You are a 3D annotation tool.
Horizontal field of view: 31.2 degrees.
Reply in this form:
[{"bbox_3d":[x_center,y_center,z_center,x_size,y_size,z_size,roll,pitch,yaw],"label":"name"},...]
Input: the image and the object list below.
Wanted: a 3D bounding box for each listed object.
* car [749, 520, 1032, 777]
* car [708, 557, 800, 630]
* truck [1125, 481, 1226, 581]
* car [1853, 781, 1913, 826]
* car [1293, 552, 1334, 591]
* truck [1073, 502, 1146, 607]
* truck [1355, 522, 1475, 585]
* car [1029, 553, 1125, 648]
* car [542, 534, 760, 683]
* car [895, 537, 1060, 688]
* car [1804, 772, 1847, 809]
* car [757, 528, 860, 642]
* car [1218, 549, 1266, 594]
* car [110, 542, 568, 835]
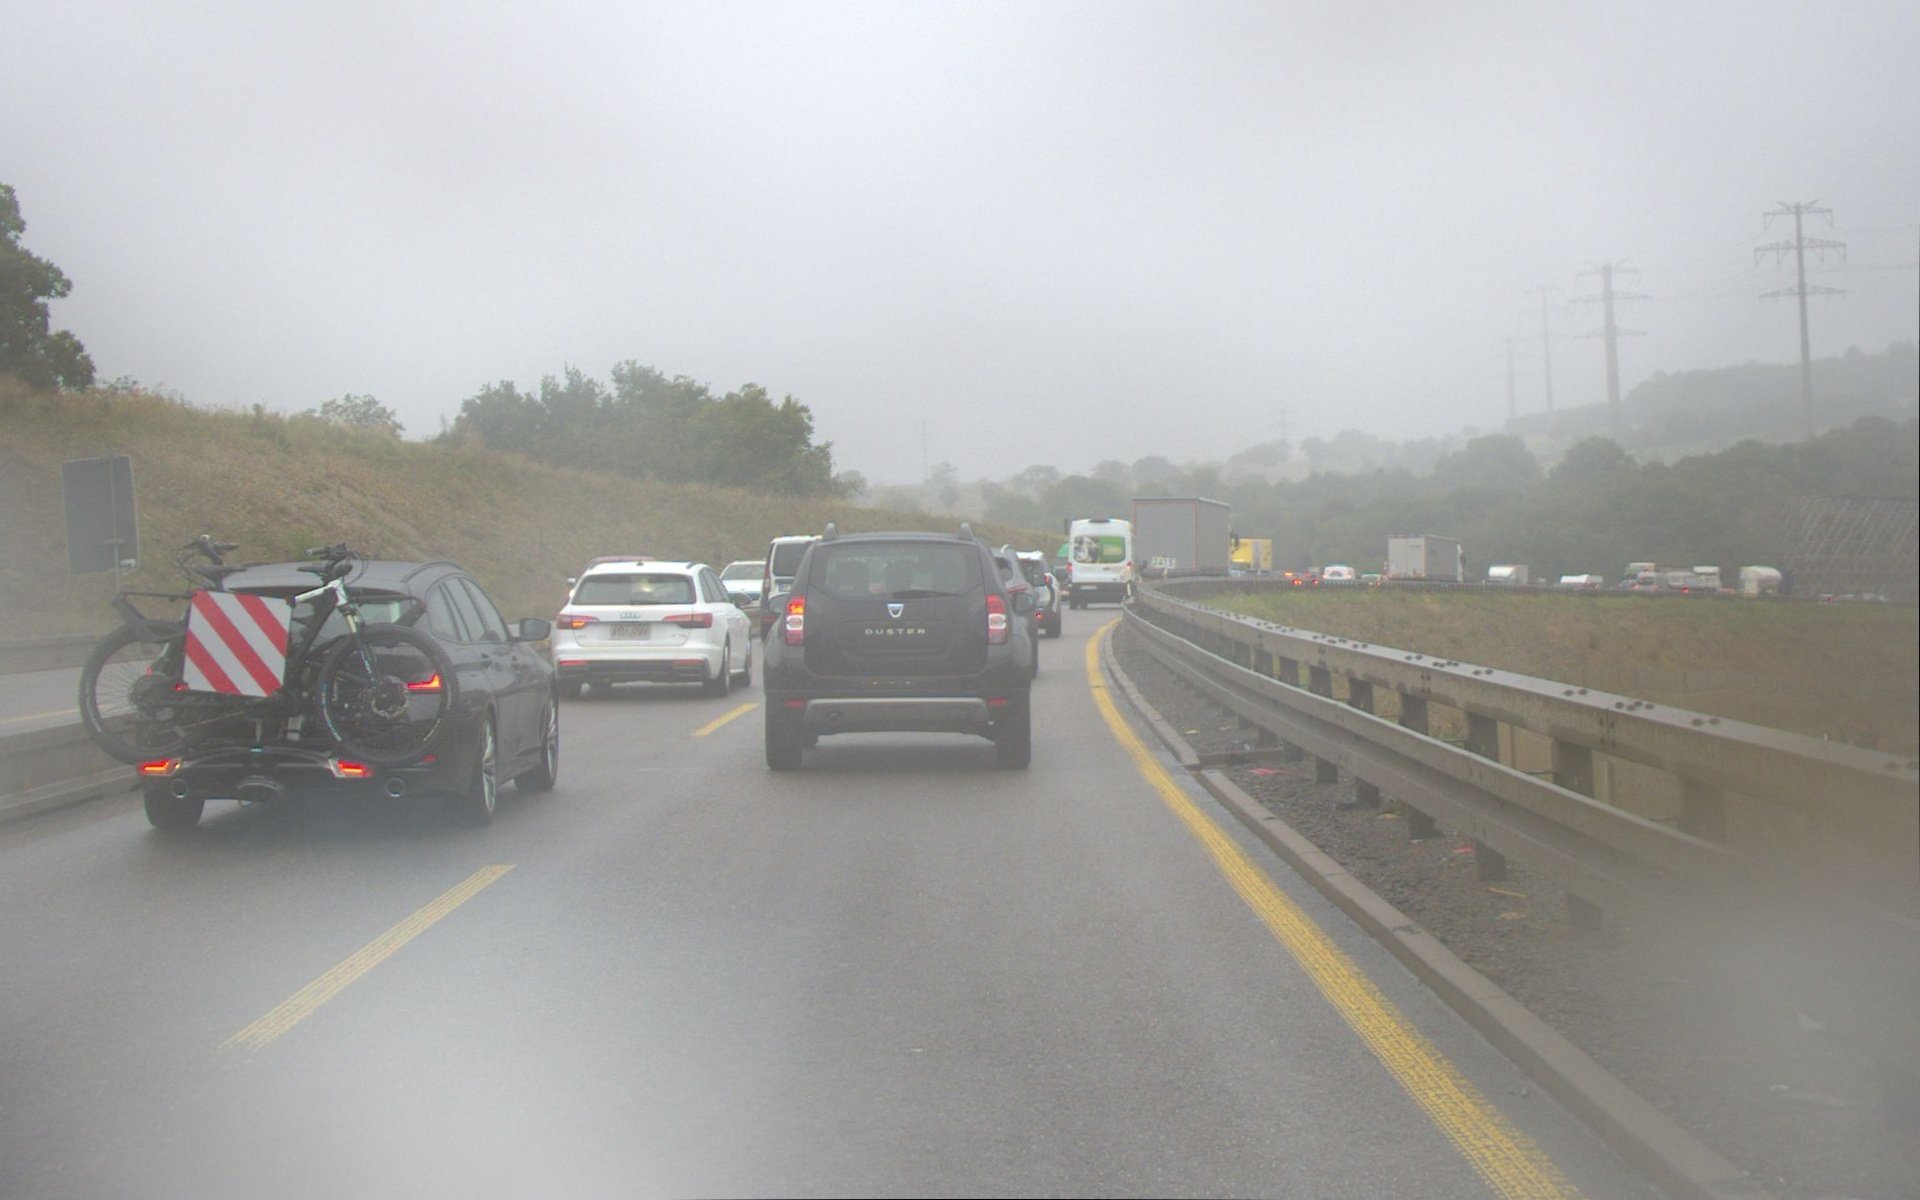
[{"bbox_3d":[-0.405,0.294,23.828,1.804,1.640,3.776,0,0,1],"label":"car"},{"bbox_3d":[-4.744,-0.166,79.144,2.045,1.627,4.990,0,0,-4],"label":"car"},{"bbox_3d":[8.546,-2.688,135.376,3.201,3.748,8.506,1,1,9],"label":"truck"},{"bbox_3d":[48.012,10.565,178.876,2.365,2.007,3.999,1,1,6],"label":"car"},{"bbox_3d":[17.911,-1.456,173.916,1.776,1.909,3.998,1,1,9],"label":"car"},{"bbox_3d":[4.663,-1.424,108.203,2.149,3.155,6.459,1,1,2],"label":"truck"},{"bbox_3d":[31.398,-3.148,236.287,4.722,4.135,15.666,1,1,21],"label":"truck"},{"bbox_3d":[2.085,-0.024,62.117,1.530,1.635,4.013,1,1,-1],"label":"car"},{"bbox_3d":[-3.218,0.055,36.562,1.867,1.455,4.548,1,1,0],"label":"car"},{"bbox_3d":[0.187,0.114,41.367,1.867,1.703,4.000,1,1,0],"label":"car"},{"bbox_3d":[49.305,10.834,195.926,1.994,1.809,3.999,0,0,8],"label":"car"},{"bbox_3d":[-2.608,-0.279,59.742,1.660,1.873,4.020,1,1,-1],"label":"car"},{"bbox_3d":[12.539,-1.268,152.598,1.776,1.909,3.998,1,1,9],"label":"car"},{"bbox_3d":[-3.333,0.430,19.156,1.829,1.471,3.776,0,0,1],"label":"car"}]
